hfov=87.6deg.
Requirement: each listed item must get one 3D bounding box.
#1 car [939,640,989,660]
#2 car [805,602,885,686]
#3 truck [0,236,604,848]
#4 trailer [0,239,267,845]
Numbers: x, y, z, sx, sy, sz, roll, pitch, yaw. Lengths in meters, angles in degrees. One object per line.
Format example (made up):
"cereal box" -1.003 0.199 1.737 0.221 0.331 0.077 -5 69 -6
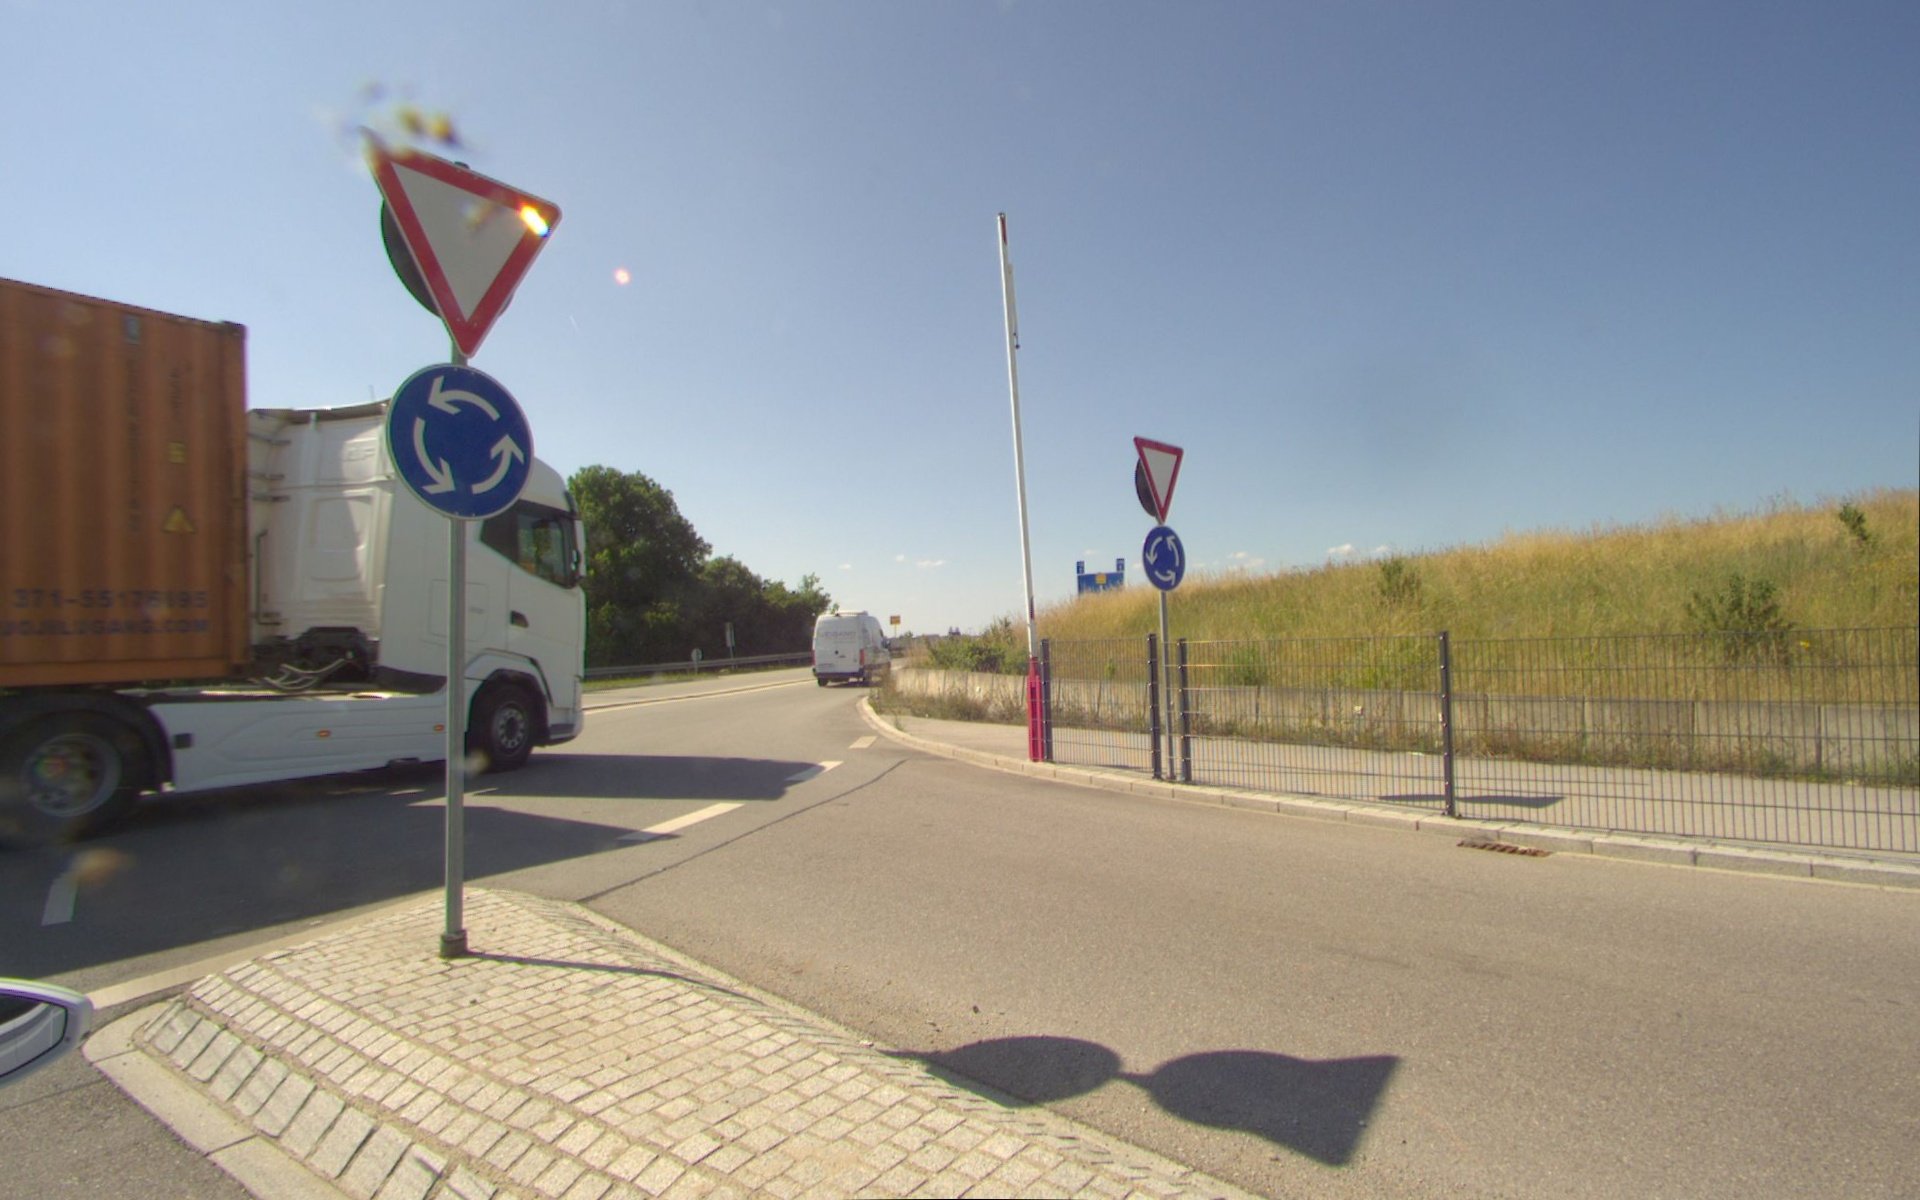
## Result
"car" 0.265 2.998 60.164 1.649 1.197 3.856 -2 -3 23
"car" -4.348 1.715 38.790 2.044 2.957 6.143 -1 -3 3
"truck" -6.752 -0.285 9.725 2.618 4.158 6.420 -1 -2 22
"trailer" -10.168 -0.459 3.876 2.526 4.206 12.294 -2 -2 33
